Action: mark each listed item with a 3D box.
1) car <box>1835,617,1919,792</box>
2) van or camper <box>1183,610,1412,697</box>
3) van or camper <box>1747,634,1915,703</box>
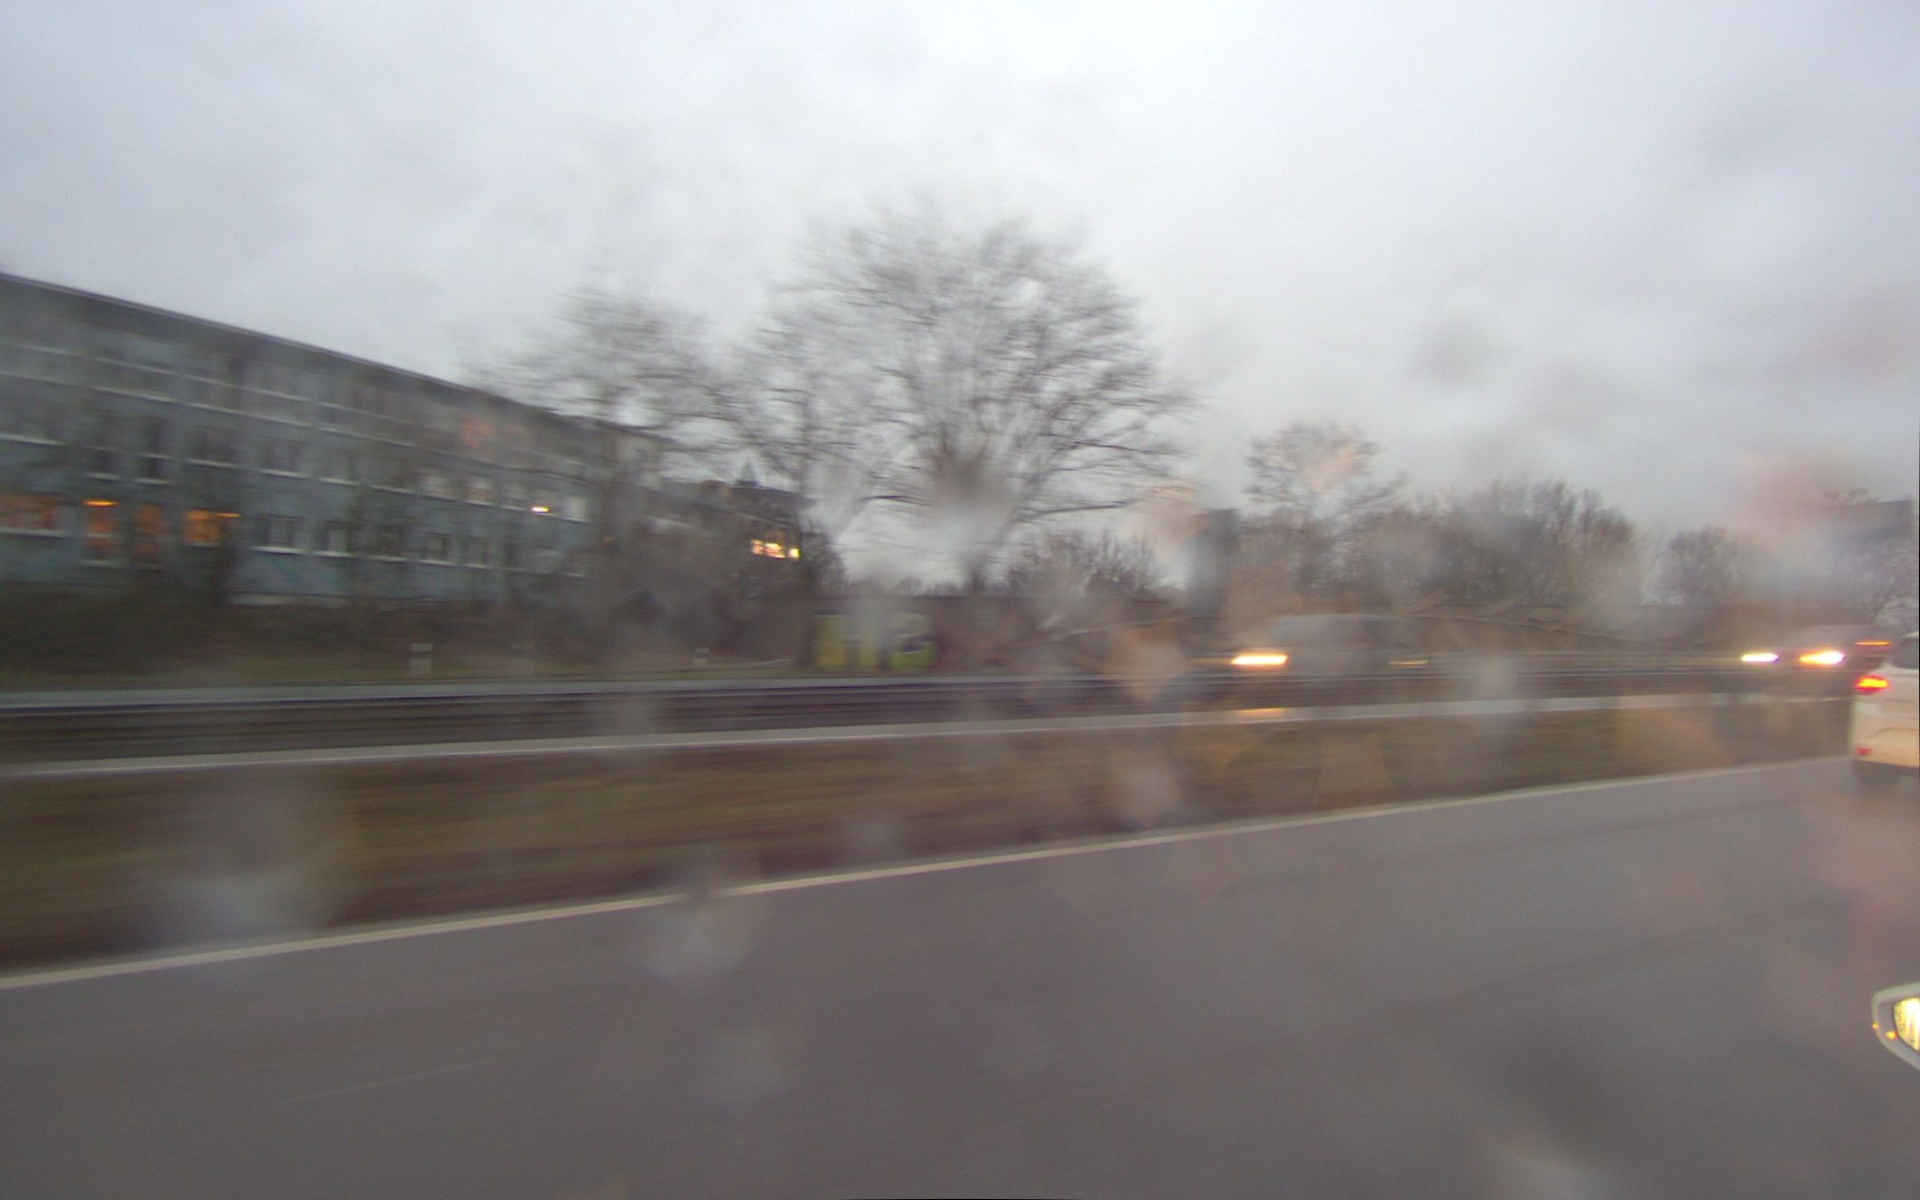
[{"bbox_3d":[9.981,0.925,9.083,4.171,1.459,1.718,2,-1,-27],"label":"car"},{"bbox_3d":[7.380,1.131,21.907,4.815,1.759,1.757,1,-1,-24],"label":"van or camper"},{"bbox_3d":[21.122,1.631,24.328,4.377,1.501,1.521,2,0,-27],"label":"van or camper"}]
